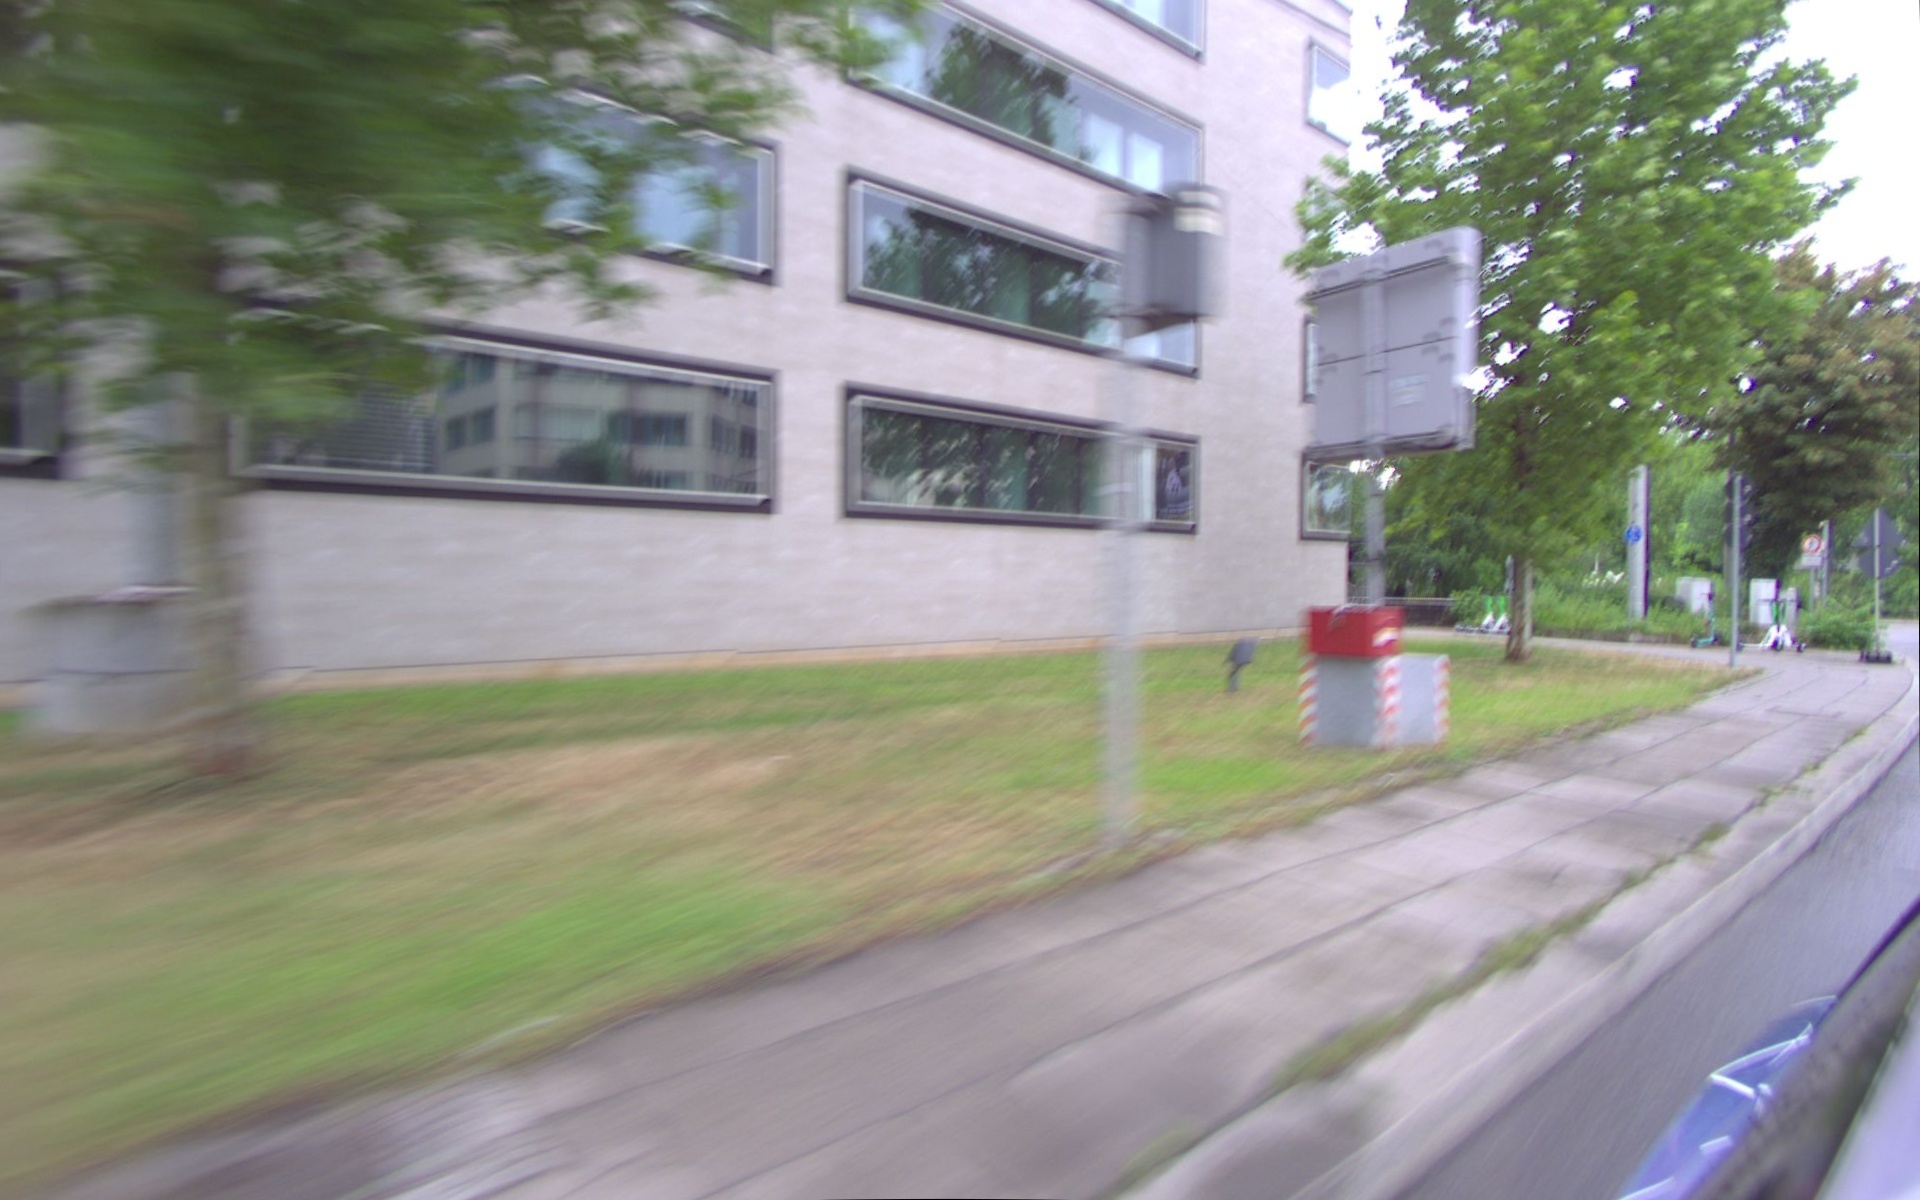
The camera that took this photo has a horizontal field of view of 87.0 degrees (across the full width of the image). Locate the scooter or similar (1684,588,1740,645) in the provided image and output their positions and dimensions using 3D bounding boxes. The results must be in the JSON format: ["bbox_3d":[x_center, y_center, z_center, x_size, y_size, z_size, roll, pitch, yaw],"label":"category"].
[{"bbox_3d":[16.697,0.356,22.471,1.300,1.215,0.564,0,1,-34],"label":"scooter or similar"}]

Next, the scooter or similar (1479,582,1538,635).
[{"bbox_3d":[14.554,0.216,26.877,0.545,1.329,1.239,0,2,-43],"label":"scooter or similar"}]

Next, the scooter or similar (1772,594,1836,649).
[{"bbox_3d":[18.805,0.464,22.583,0.630,1.142,1.581,2,2,23],"label":"scooter or similar"}]

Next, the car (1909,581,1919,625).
[{"bbox_3d":[39.780,0.193,39.413,1.970,1.766,4.637,2,2,13],"label":"car"}]

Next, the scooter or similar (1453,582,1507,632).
[{"bbox_3d":[14.583,0.182,28.407,0.464,1.329,1.239,0,2,-43],"label":"scooter or similar"}]

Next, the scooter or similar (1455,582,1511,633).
[{"bbox_3d":[14.386,0.197,27.844,0.464,1.329,1.239,0,2,-43],"label":"scooter or similar"}]

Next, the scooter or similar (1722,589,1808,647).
[{"bbox_3d":[17.625,0.381,22.173,1.312,1.215,0.690,1,1,-2],"label":"scooter or similar"}]
